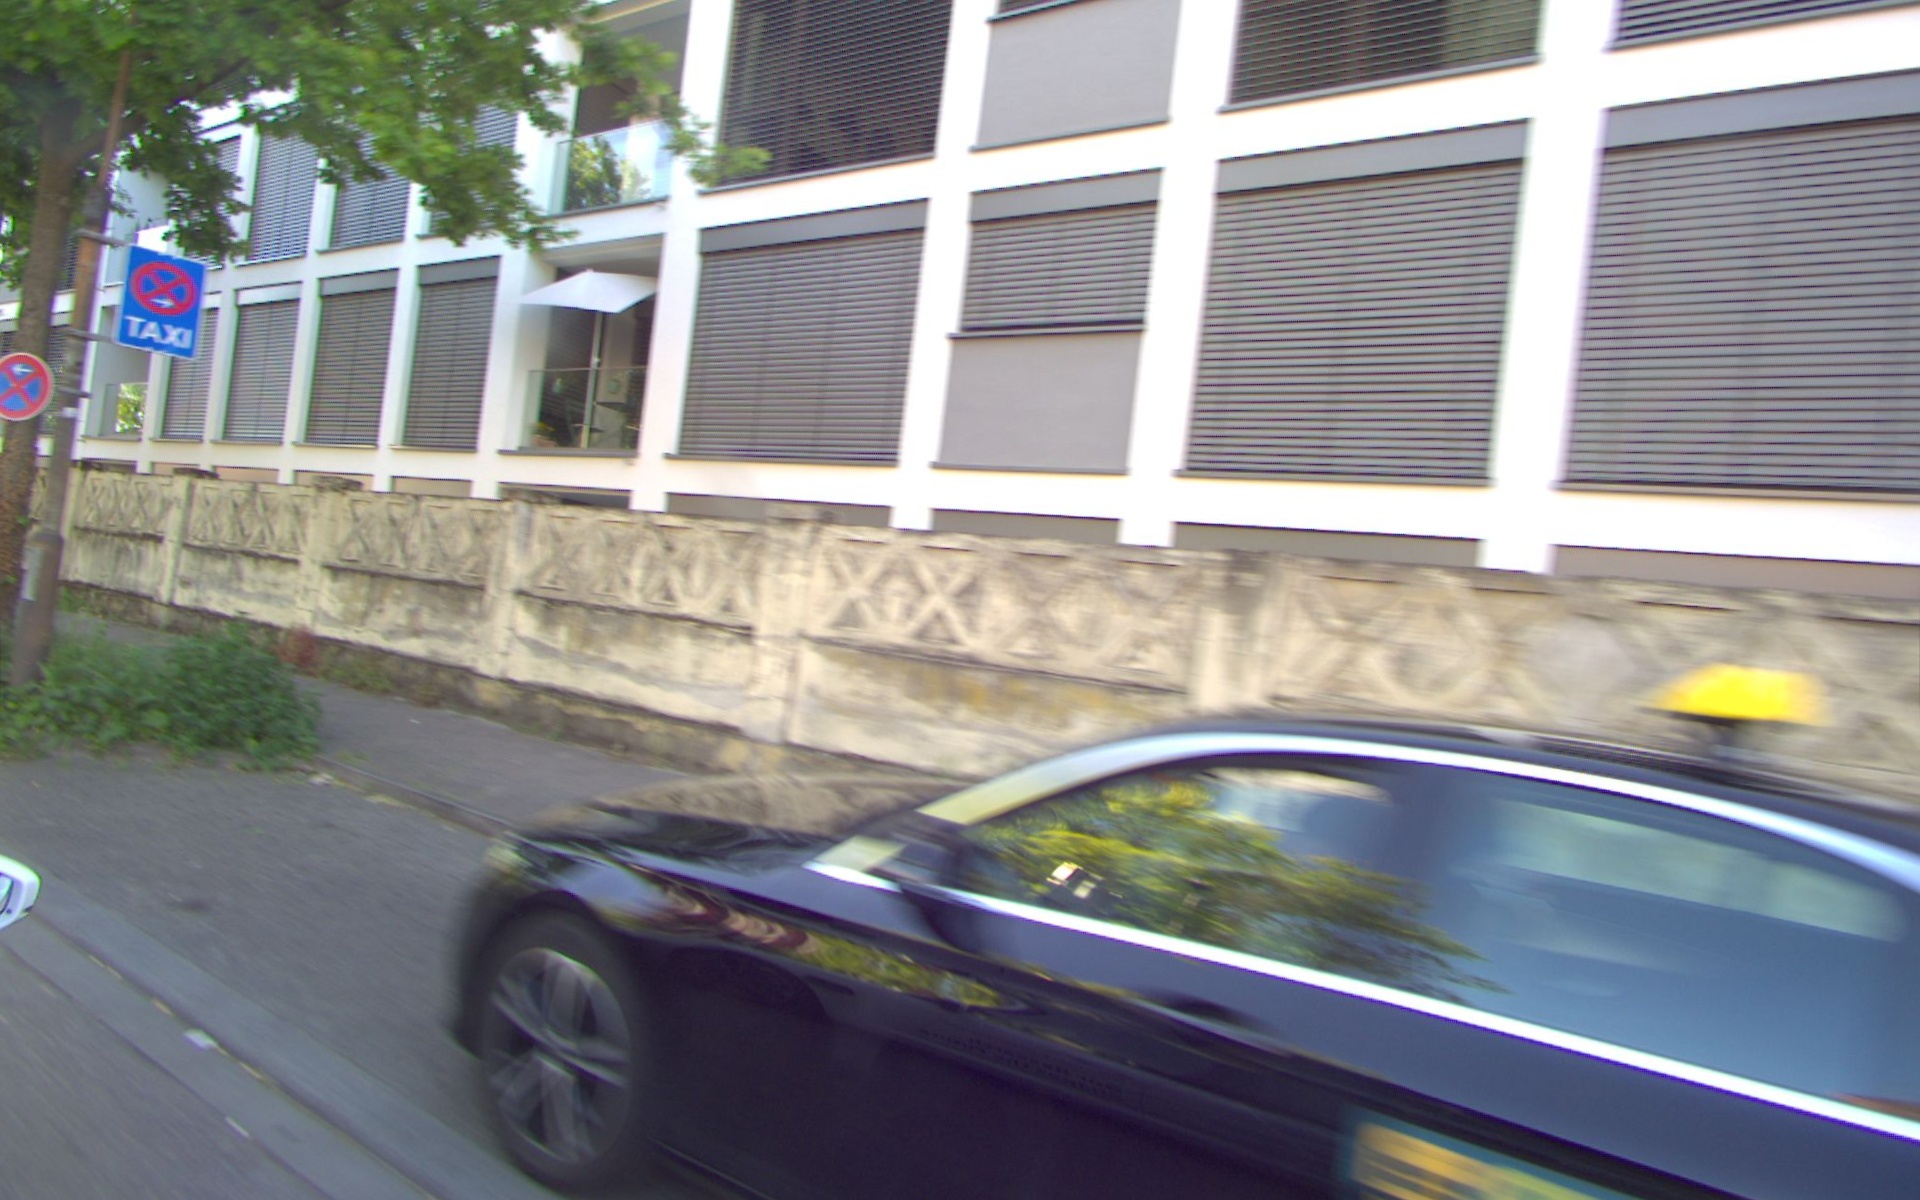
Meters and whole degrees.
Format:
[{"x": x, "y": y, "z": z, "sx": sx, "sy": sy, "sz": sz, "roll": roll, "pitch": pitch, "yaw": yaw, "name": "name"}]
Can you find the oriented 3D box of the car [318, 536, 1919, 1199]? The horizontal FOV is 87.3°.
[{"x": 0.627, "y": 0.841, "z": 2.460, "sx": 4.683, "sy": 1.427, "sz": 1.723, "roll": 7, "pitch": -1, "yaw": 32, "name": "car"}]
